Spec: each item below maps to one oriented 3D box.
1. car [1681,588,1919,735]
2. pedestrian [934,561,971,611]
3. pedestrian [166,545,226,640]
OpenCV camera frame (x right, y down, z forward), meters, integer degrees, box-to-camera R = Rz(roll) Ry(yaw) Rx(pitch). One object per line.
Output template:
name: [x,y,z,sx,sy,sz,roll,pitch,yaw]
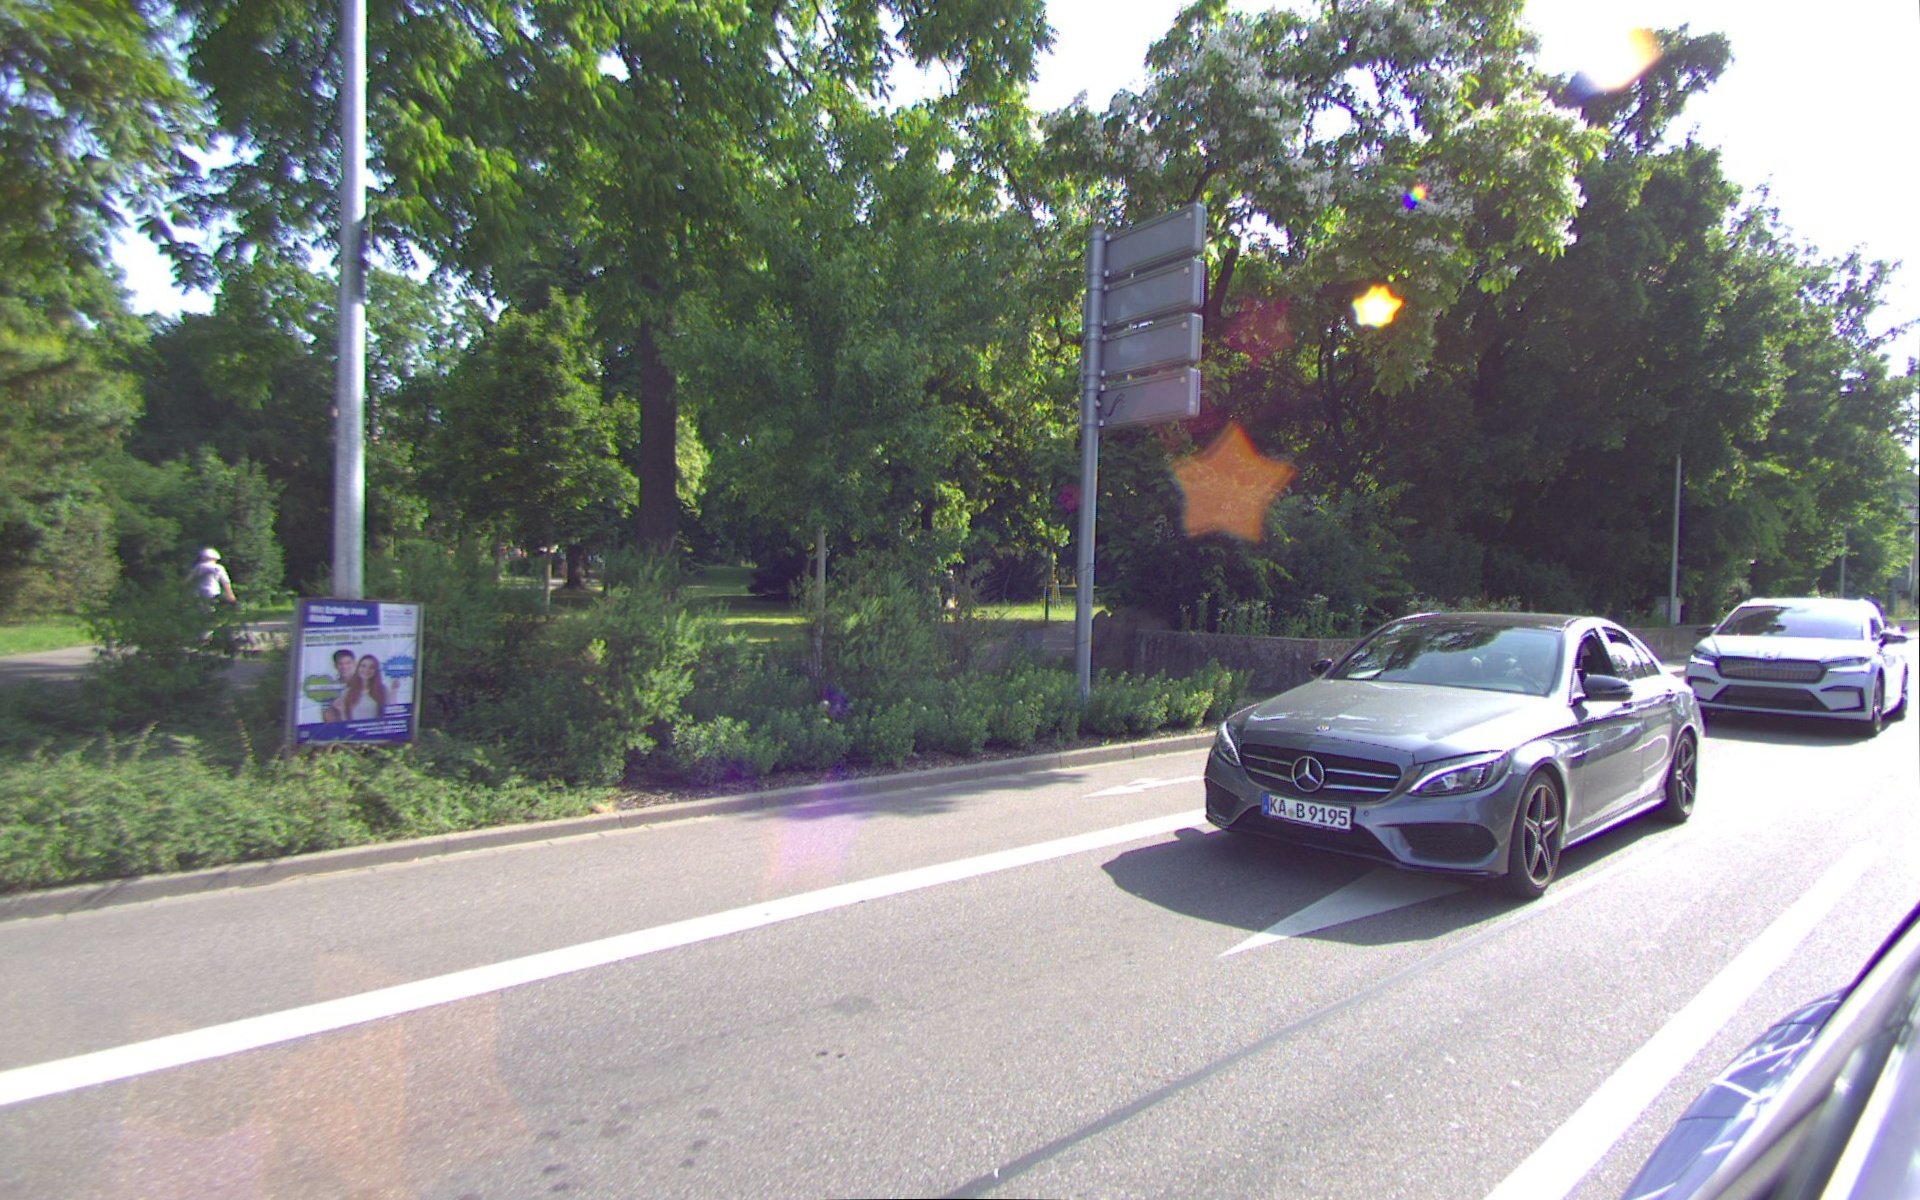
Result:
car: [11.136,0.668,13.177,4.175,1.590,1.896,0,1,-40]
pedestrian: [-0.287,-0.530,38.686,1.058,1.853,0.978,2,1,23]
pedestrian: [-12.583,-0.128,16.690,0.523,1.536,0.671,1,1,-9]
